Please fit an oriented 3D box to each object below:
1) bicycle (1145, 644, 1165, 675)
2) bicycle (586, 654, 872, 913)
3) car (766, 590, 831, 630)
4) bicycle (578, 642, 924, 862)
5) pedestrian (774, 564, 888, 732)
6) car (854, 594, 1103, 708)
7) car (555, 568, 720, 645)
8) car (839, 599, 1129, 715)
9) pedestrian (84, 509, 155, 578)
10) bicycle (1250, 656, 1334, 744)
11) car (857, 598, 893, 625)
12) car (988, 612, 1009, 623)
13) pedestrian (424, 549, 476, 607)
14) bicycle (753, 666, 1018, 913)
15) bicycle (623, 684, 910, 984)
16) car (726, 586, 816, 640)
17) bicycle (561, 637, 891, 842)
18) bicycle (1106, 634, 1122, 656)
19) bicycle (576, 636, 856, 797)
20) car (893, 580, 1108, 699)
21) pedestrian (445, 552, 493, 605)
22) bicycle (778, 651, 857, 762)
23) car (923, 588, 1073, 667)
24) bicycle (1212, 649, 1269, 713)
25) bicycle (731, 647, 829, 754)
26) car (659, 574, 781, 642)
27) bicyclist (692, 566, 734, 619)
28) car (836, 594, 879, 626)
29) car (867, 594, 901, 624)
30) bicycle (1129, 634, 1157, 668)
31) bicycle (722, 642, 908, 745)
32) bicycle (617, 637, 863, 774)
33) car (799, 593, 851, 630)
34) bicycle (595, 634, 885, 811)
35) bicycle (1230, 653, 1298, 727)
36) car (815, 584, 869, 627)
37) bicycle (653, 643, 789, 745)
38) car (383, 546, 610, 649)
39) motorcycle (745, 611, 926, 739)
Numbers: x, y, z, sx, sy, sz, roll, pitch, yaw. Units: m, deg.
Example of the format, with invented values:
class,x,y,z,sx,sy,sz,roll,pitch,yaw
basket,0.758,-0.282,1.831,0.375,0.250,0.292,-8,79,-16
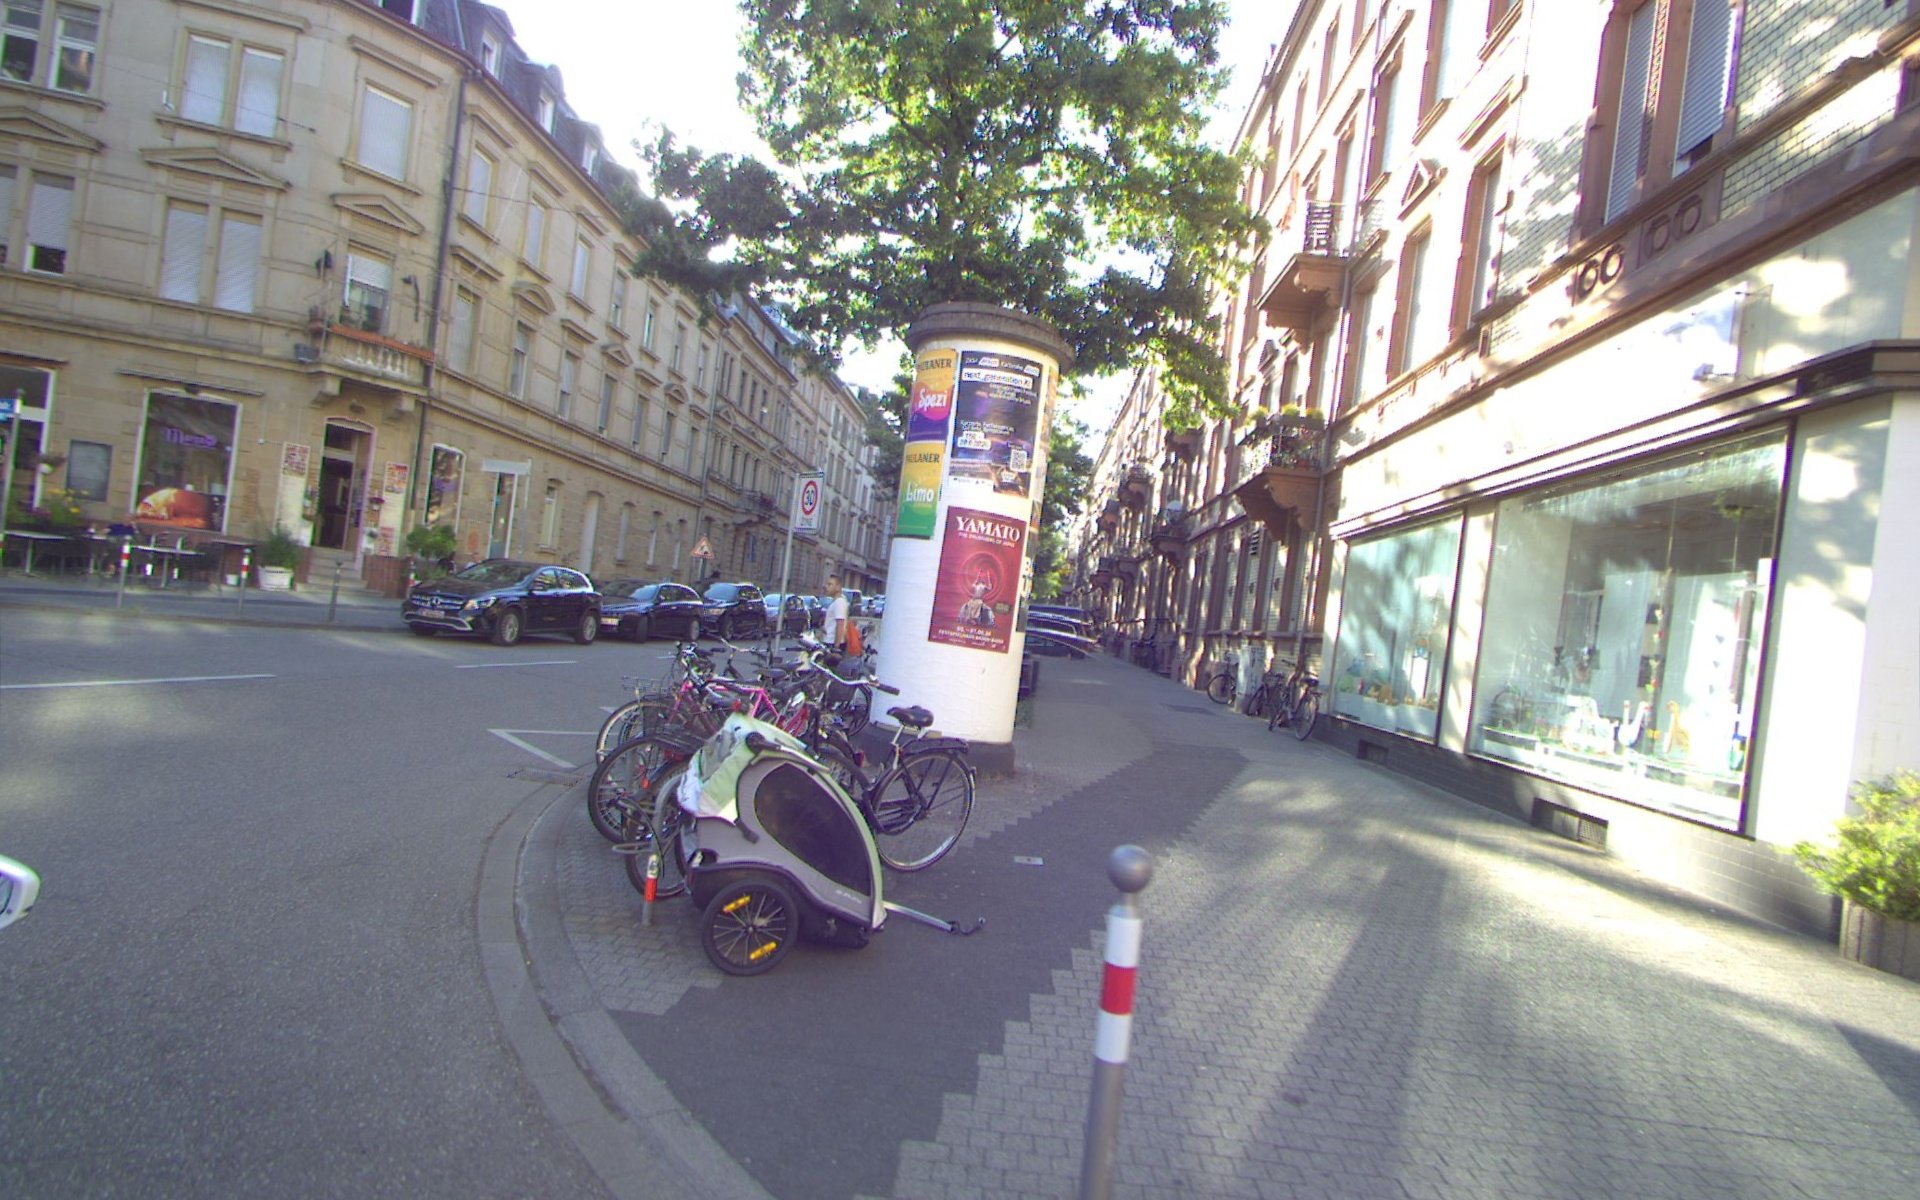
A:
class,x,y,z,sx,sy,sz,roll,pitch,yaw
bicycle,6.664,2.028,34.420,0.398,0.975,1.868,4,-1,4
bicycle,-1.114,0.865,5.157,0.418,1.107,1.473,4,-1,33
car,-7.149,0.475,44.957,1.730,1.519,4.061,6,0,6
bicycle,-1.159,0.870,5.909,1.918,1.107,0.421,6,-1,-36
pedestrian,-1.596,0.594,12.671,1.097,1.922,0.843,7,0,1
car,0.413,0.989,20.105,4.613,1.699,1.852,6,-1,5
car,-7.472,0.225,23.826,1.730,1.469,4.554,6,-1,9
car,0.462,0.965,17.609,4.709,1.430,1.852,6,-1,6
pedestrian,-16.477,-1.090,19.734,0.716,1.228,0.754,7,0,-15
bicycle,5.306,1.554,16.236,0.660,1.186,2.594,5,-1,6
car,-5.691,0.775,67.607,1.732,1.484,4.000,9,0,2
car,7.964,3.653,210.408,3.924,1.882,1.752,8,0,12
pedestrian,-12.251,-0.510,24.183,0.714,1.274,0.757,7,0,2
bicycle,-0.348,0.950,5.469,0.565,1.107,1.473,4,-1,35
bicycle,-0.838,0.958,4.248,0.985,1.039,0.735,7,0,-18
car,-6.293,0.463,33.978,1.730,1.519,4.061,6,0,7
bicycle,-1.396,0.855,6.272,1.918,1.107,0.421,6,-1,-36
bicycle,7.816,2.278,51.090,0.544,1.013,1.894,5,0,4
bicycle,-1.783,0.876,7.532,1.916,1.065,0.499,5,-1,-34
car,1.014,0.976,25.330,4.943,2.242,1.993,7,0,3
pedestrian,-12.363,-0.539,25.346,0.714,1.228,0.757,7,0,2
bicycle,-1.350,0.986,9.715,0.348,0.939,1.526,4,-1,5
car,1.220,0.890,32.788,4.602,2.058,1.879,5,0,1
bicycle,5.921,1.685,21.388,0.660,1.186,2.594,5,-1,6
bicycle,-1.727,0.944,9.868,0.348,0.939,1.526,4,-1,11
car,-6.777,0.261,28.952,1.730,1.619,4.552,6,0,8
bicyclist,-9.236,-0.267,37.656,0.980,1.811,1.208,7,0,4
car,-6.166,0.636,60.997,1.726,1.628,4.385,9,0,4
car,-5.432,0.659,72.369,1.731,1.864,4.530,7,0,2
bicycle,6.849,1.896,37.772,0.660,1.186,2.594,5,-1,4
bicycle,-1.565,1.006,10.940,1.899,0.939,0.354,5,0,3
bicycle,-1.832,0.892,8.446,1.907,1.000,0.495,5,-1,-19
car,-6.594,0.581,49.499,1.568,1.493,3.701,9,0,6
bicycle,-1.508,0.869,7.132,1.916,1.107,0.421,5,-1,-34
bicycle,5.653,1.640,18.840,0.660,1.186,2.594,5,-1,6
car,-6.391,0.343,55.069,1.804,1.966,5.261,9,0,4
bicycle,-2.376,0.937,10.136,0.349,0.939,1.409,4,-1,33
car,-8.343,0.029,18.583,1.730,1.505,4.142,6,-1,8
motorcycle,-1.400,0.838,11.522,1.867,1.249,0.686,5,0,4
